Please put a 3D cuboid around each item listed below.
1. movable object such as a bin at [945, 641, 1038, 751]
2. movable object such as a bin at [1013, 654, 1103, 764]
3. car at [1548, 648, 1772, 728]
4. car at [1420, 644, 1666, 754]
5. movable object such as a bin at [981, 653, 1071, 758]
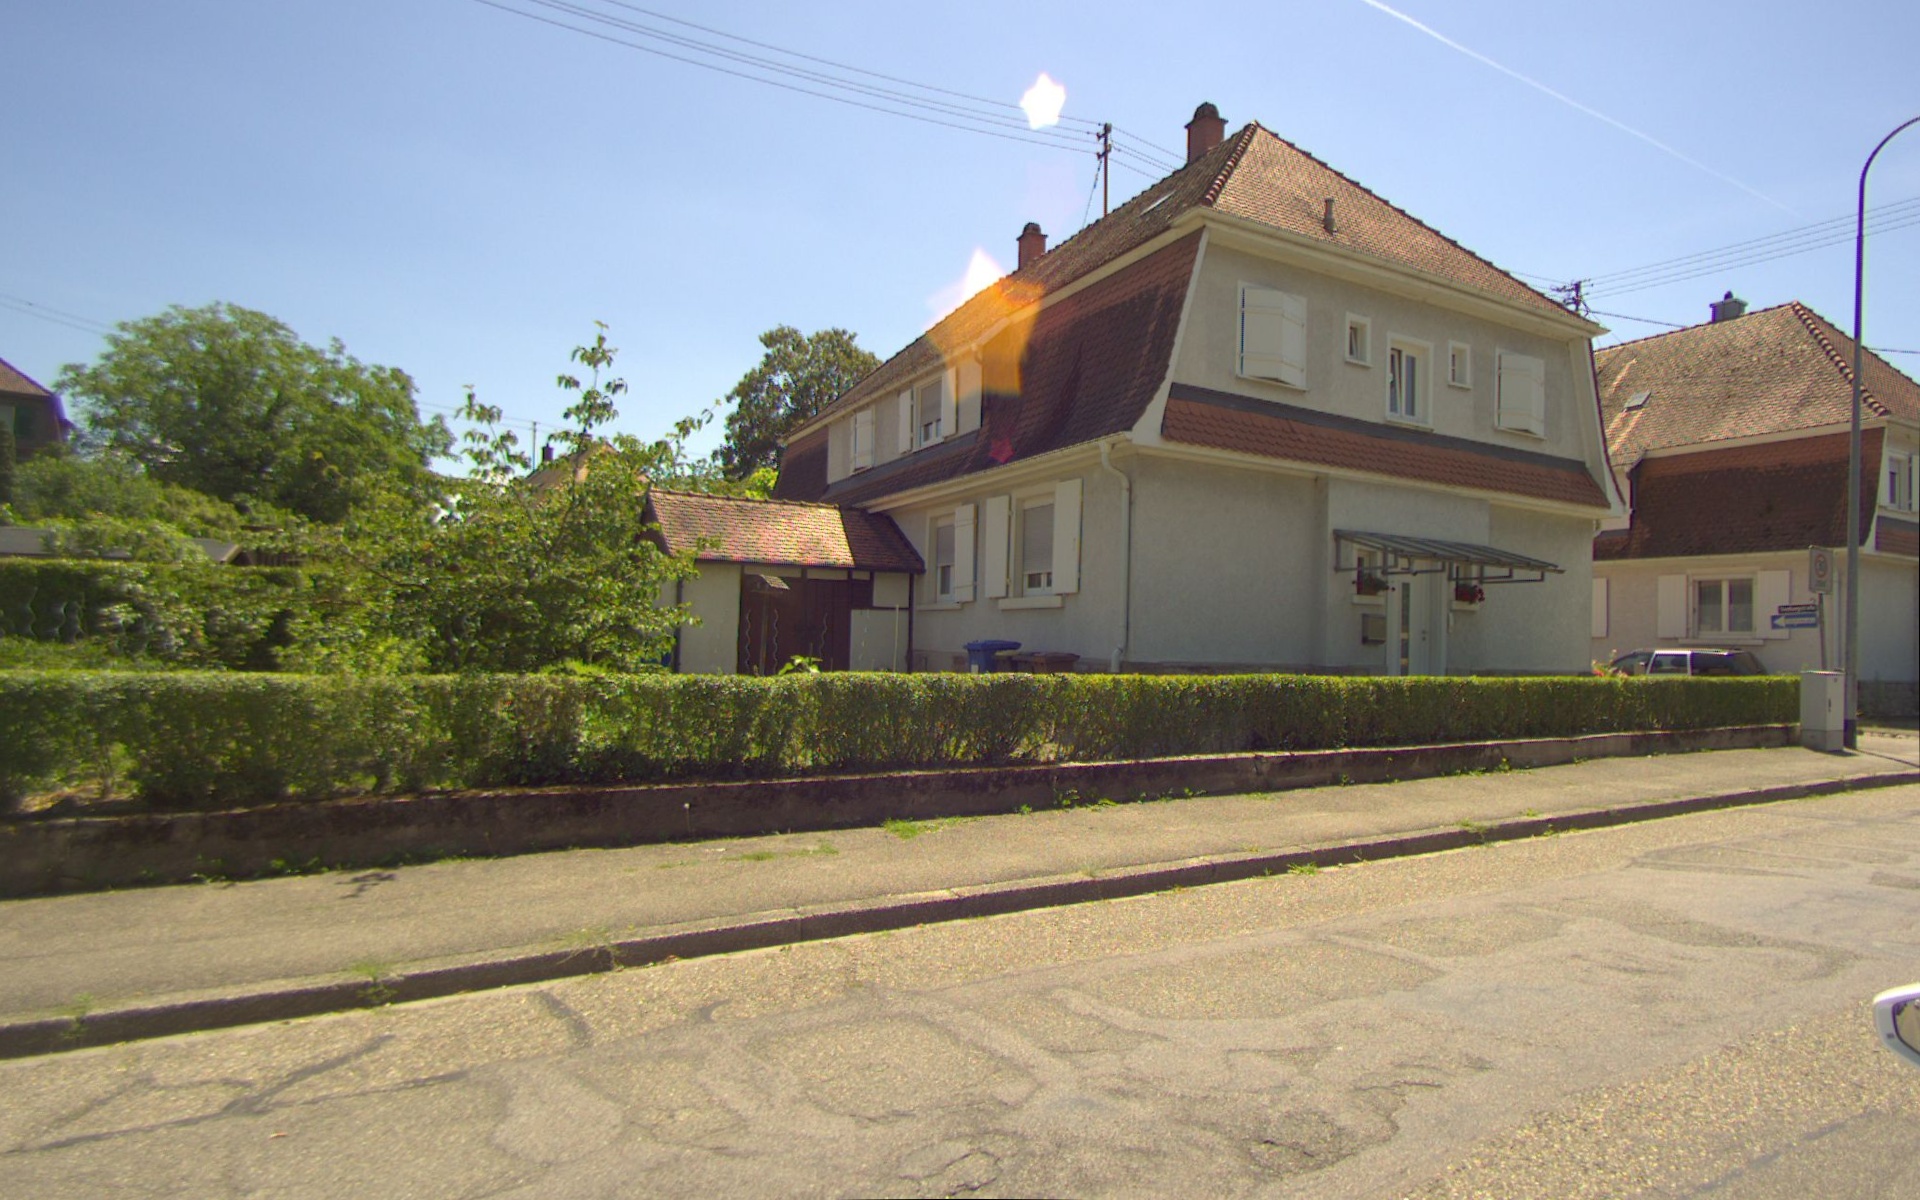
[{"bbox_3d":[0.447,1.344,14.347,0.997,1.492,0.873,2,-2,-30],"label":"movable object such as a bin"},{"bbox_3d":[1.261,1.383,12.929,0.909,1.339,0.686,2,-2,-30],"label":"movable object such as a bin"},{"bbox_3d":[16.067,1.957,23.258,1.856,1.663,3.853,2,-3,-28],"label":"car"},{"bbox_3d":[11.449,1.861,19.996,1.856,1.930,3.853,2,-3,-28],"label":"car"},{"bbox_3d":[0.894,1.401,13.610,0.909,1.339,0.815,2,-2,-30],"label":"movable object such as a bin"}]
